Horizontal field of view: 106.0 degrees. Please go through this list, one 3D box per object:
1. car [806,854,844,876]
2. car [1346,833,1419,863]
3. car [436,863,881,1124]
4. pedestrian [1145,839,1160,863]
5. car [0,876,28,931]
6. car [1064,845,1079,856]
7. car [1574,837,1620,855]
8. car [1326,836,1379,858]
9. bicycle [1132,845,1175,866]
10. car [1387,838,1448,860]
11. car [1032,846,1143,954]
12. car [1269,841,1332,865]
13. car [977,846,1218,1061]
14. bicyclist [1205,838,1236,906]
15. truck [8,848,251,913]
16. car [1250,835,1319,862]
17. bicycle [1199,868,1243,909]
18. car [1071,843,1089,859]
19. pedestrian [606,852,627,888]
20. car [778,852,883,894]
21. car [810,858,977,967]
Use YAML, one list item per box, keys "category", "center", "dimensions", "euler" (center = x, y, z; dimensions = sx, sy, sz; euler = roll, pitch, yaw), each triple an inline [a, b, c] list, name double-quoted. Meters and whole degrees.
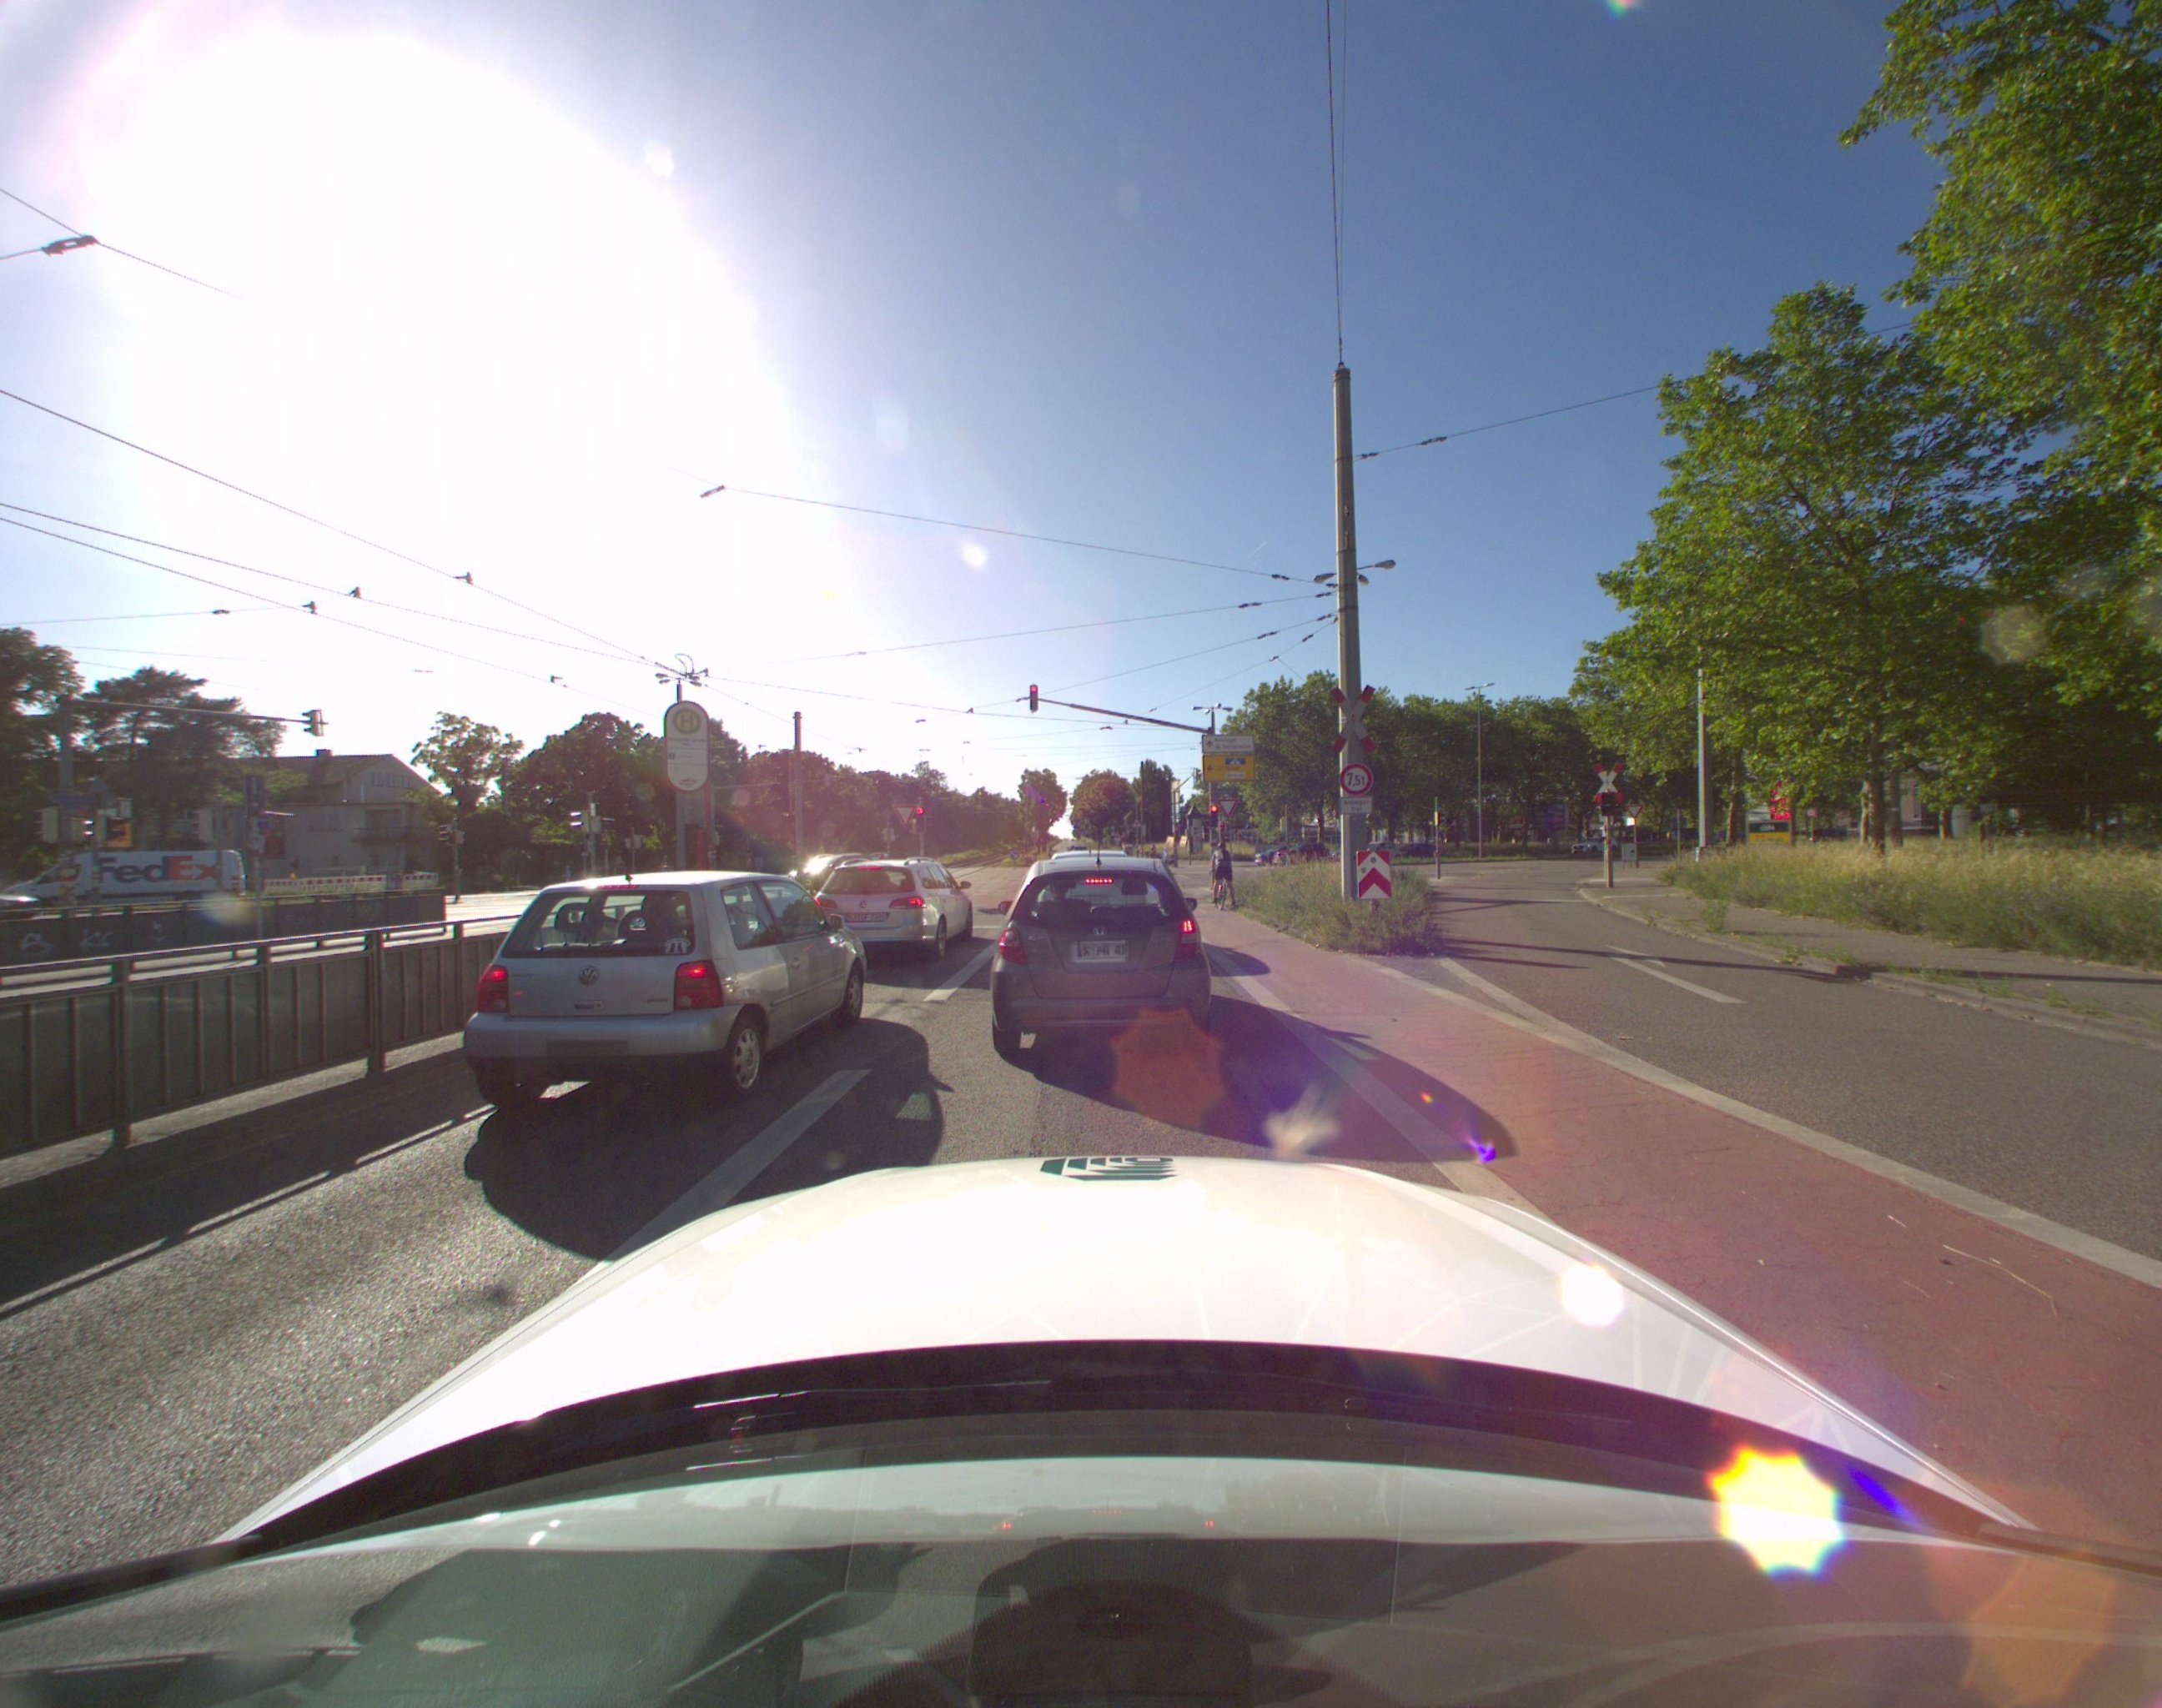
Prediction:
- category: "car"
  center: [-19.018, 0.812, 60.700]
  dimensions: [1.829, 1.548, 3.993]
  euler: [-2, 0, -5]
- category: "car"
  center: [21.956, -0.446, 59.243]
  dimensions: [4.906, 2.013, 1.986]
  euler: [-2, 0, -22]
- category: "car"
  center: [-2.830, 0.817, 6.328]
  dimensions: [1.613, 1.417, 3.352]
  euler: [-2, 0, 1]
- category: "pedestrian"
  center: [5.547, -0.246, 62.937]
  dimensions: [0.856, 1.836, 0.784]
  euler: [-2, 0, -24]
- category: "car"
  center: [-32.027, 1.442, 21.492]
  dimensions: [4.844, 1.497, 1.771]
  euler: [-2, 0, -25]
- category: "car"
  center: [-1.174, -0.427, 99.546]
  dimensions: [1.520, 1.378, 3.670]
  euler: [-2, 0, -4]
- category: "car"
  center: [47.049, -0.733, 74.237]
  dimensions: [4.005, 1.501, 1.580]
  euler: [-2, 0, -24]
- category: "car"
  center: [20.912, -0.526, 62.795]
  dimensions: [3.757, 1.570, 1.480]
  euler: [-2, 0, -21]
- category: "bicycle"
  center: [5.613, 0.120, 62.948]
  dimensions: [3.218, 1.574, 0.815]
  euler: [-2, 0, -24]
- category: "car"
  center: [26.884, -0.412, 65.044]
  dimensions: [4.526, 1.574, 1.681]
  euler: [-2, 0, -21]
- category: "car"
  center: [0.144, 0.680, 14.125]
  dimensions: [1.605, 1.562, 4.289]
  euler: [-1, 0, 1]
- category: "car"
  center: [15.017, -0.084, 55.785]
  dimensions: [4.002, 1.531, 1.594]
  euler: [-2, 0, -22]
- category: "car"
  center: [0.107, 0.689, 7.486]
  dimensions: [1.663, 1.462, 3.585]
  euler: [-1, 0, -1]
- category: "bicyclist"
  center: [3.630, 0.460, 21.219]
  dimensions: [0.663, 1.716, 0.948]
  euler: [0, -1, 1]
- category: "truck"
  center: [-42.350, 1.096, 36.624]
  dimensions: [6.860, 2.565, 1.976]
  euler: [-2, 0, -42]
- category: "car"
  center: [15.028, -0.374, 60.078]
  dimensions: [4.705, 1.879, 1.986]
  euler: [0, -1, -22]
- category: "bicycle"
  center: [3.631, 0.867, 21.296]
  dimensions: [0.719, 0.989, 2.876]
  euler: [0, 0, 1]
- category: "car"
  center: [-0.106, -0.319, 82.407]
  dimensions: [1.705, 1.478, 3.997]
  euler: [-2, 0, -2]
- category: "pedestrian"
  center: [-26.534, 0.928, 46.546]
  dimensions: [0.748, 2.013, 0.788]
  euler: [-2, 0, -11]
- category: "car"
  center: [-10.411, 0.759, 34.044]
  dimensions: [1.572, 1.544, 4.009]
  euler: [-2, 0, 37]
- category: "car"
  center: [-2.779, 0.799, 12.976]
  dimensions: [1.613, 1.457, 4.086]
  euler: [-1, 0, 1]
